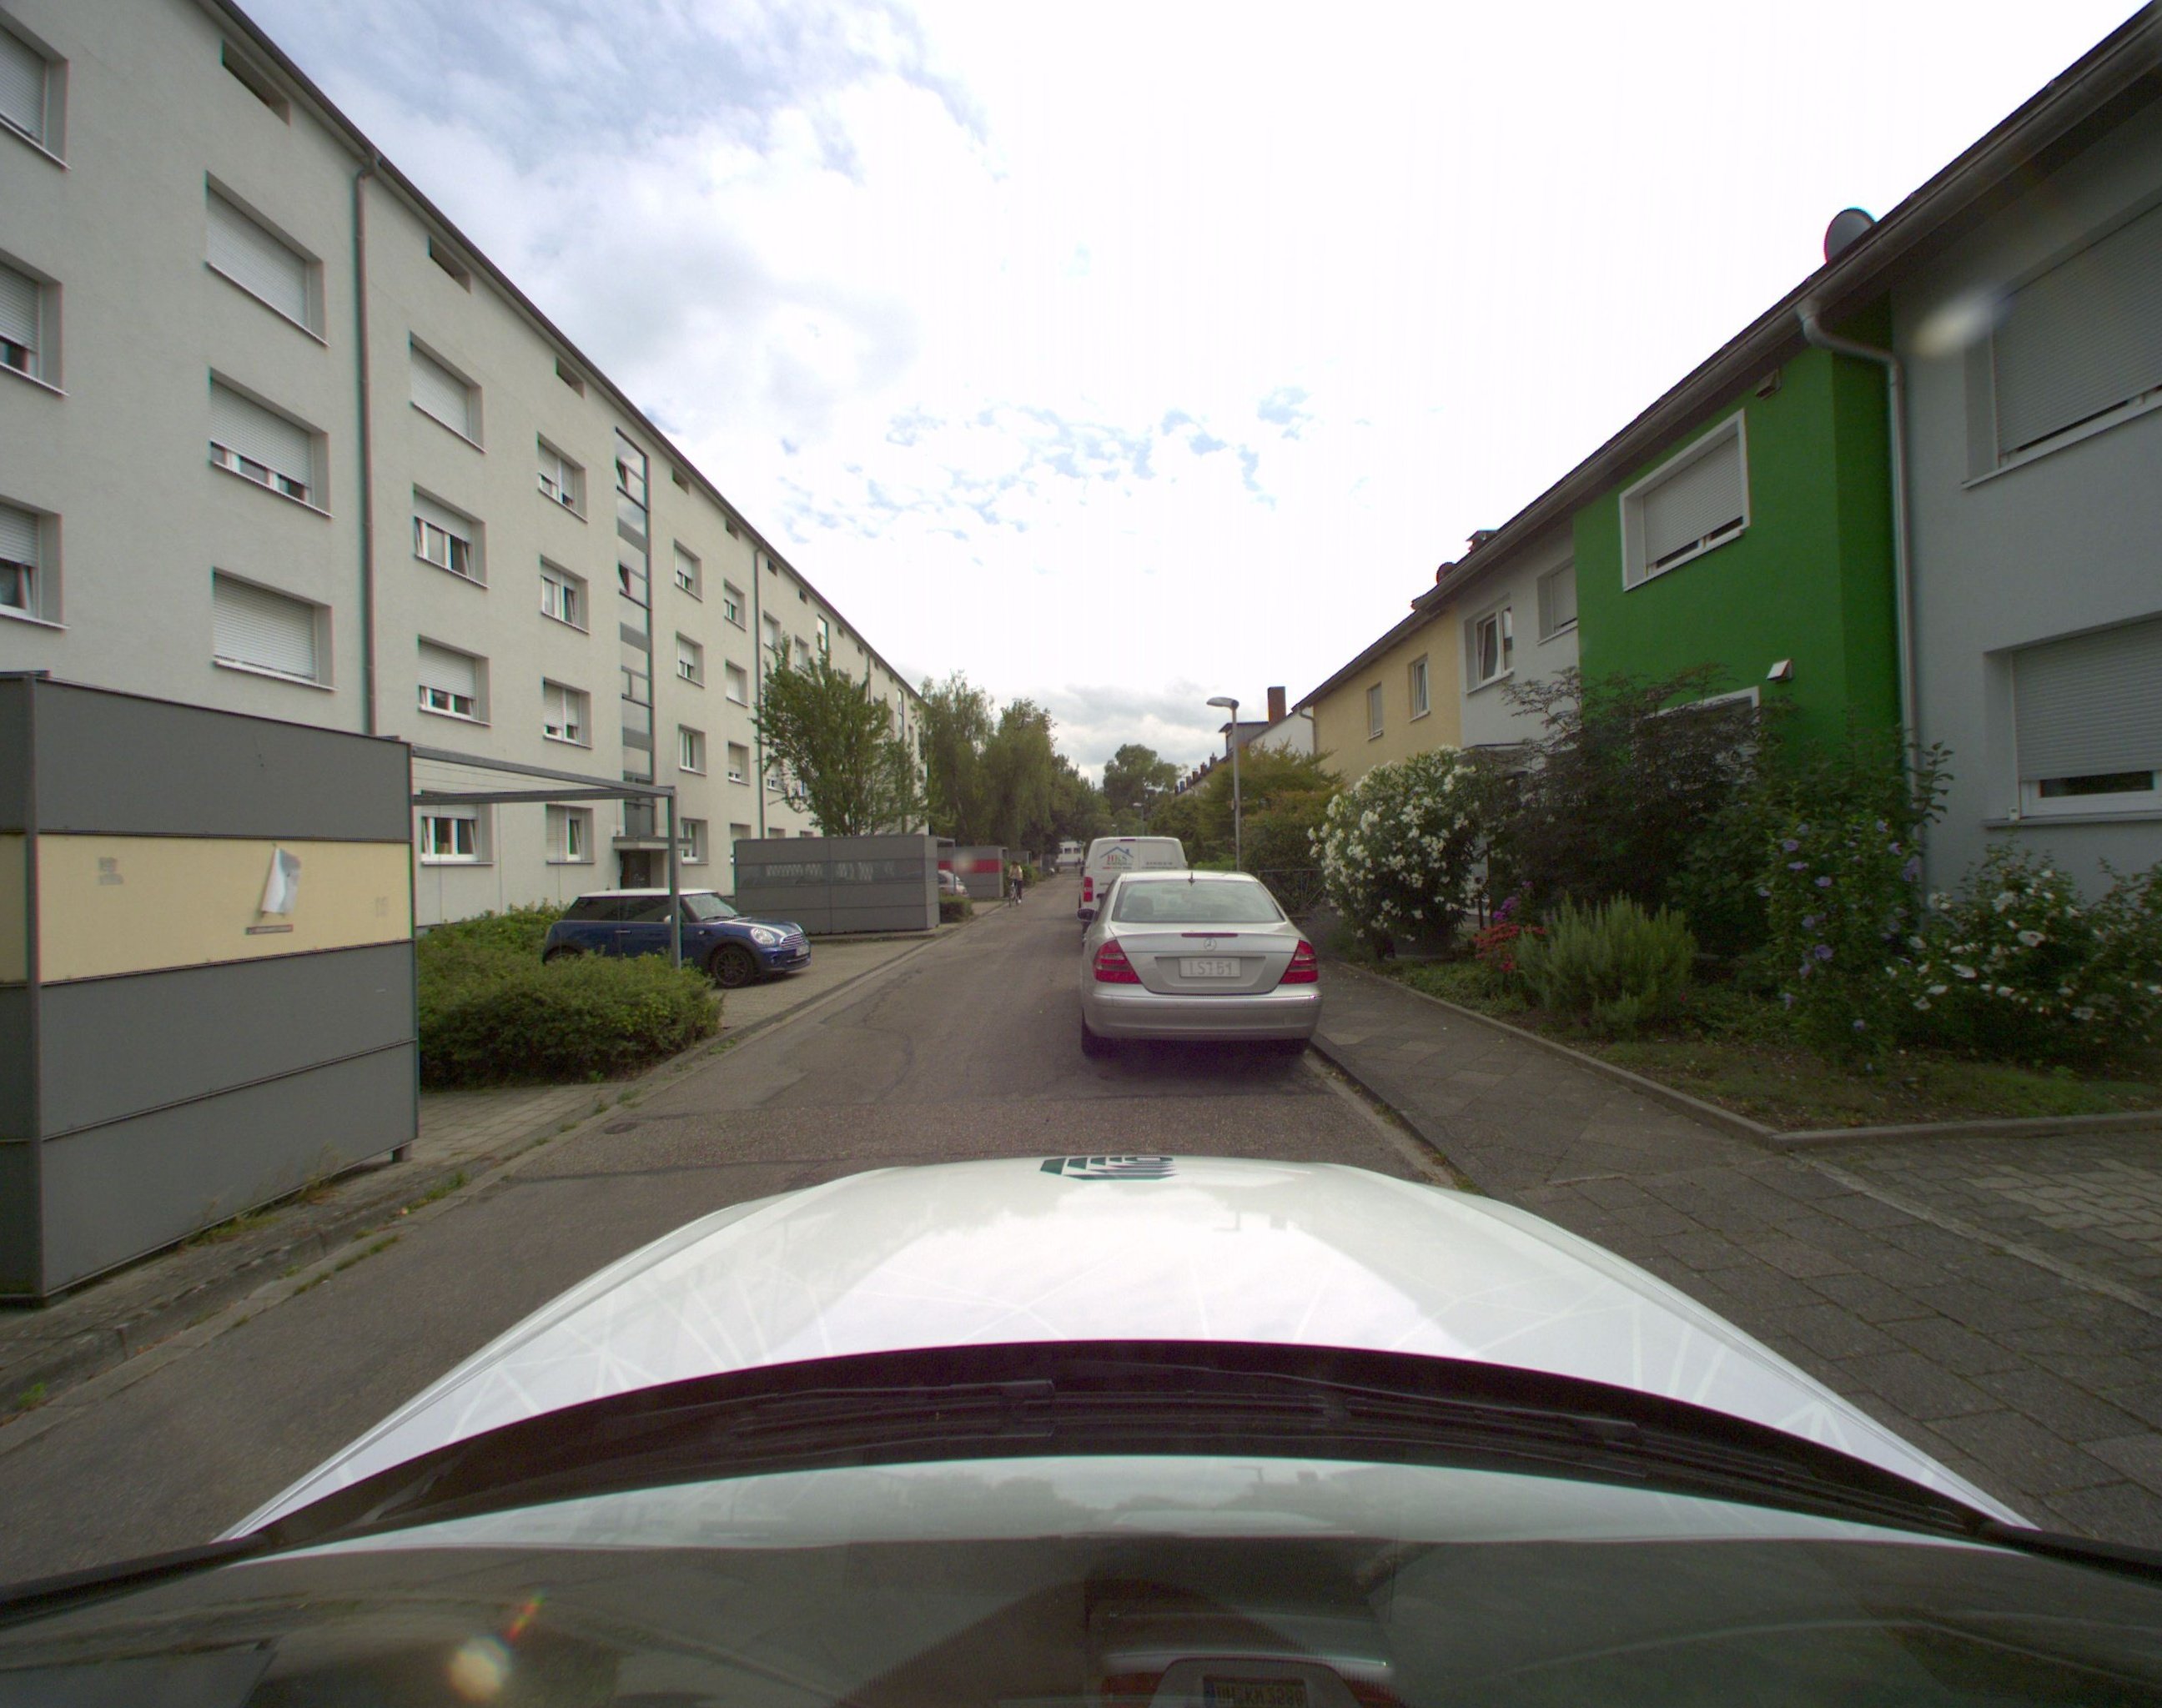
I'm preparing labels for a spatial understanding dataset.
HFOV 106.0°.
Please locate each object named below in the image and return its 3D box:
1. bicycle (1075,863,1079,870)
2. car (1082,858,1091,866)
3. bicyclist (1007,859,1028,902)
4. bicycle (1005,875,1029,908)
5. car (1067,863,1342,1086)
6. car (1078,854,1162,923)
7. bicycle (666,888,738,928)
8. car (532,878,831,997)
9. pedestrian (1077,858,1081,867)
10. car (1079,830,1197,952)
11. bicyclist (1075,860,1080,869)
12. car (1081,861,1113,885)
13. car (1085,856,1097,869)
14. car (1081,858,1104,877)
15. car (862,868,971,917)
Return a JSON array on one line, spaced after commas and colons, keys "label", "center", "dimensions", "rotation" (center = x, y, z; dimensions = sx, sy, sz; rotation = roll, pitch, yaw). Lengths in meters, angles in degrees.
[{"label": "bicycle", "center": [-0.687, 2.189, 139.248], "dimensions": [0.686, 1.131, 2.580], "rotation": [0, -1, 2]}, {"label": "car", "center": [1.203, 1.706, 165.540], "dimensions": [1.819, 1.581, 4.000], "rotation": [0, 0, 1]}, {"label": "bicyclist", "center": [-2.372, 0.977, 30.380], "dimensions": [0.595, 1.581, 0.767], "rotation": [-3, -1, 1]}, {"label": "bicycle", "center": [-2.358, 1.370, 30.135], "dimensions": [0.595, 1.076, 2.043], "rotation": [-3, -1, 2]}, {"label": "car", "center": [0.881, 0.816, 7.555], "dimensions": [1.777, 1.421, 4.457], "rotation": [-1, -1, 2]}, {"label": "car", "center": [0.927, 0.848, 21.597], "dimensions": [1.820, 1.636, 4.158], "rotation": [-1, -1, -3]}, {"label": "bicycle", "center": [-10.995, 1.551, 23.669], "dimensions": [1.820, 1.024, 0.473], "rotation": [-2, -1, -41]}, {"label": "car", "center": [-5.894, 1.200, 12.272], "dimensions": [3.619, 1.461, 1.654], "rotation": [-3, -1, 3]}, {"label": "pedestrian", "center": [-0.469, 1.713, 170.027], "dimensions": [0.774, 1.805, 0.547], "rotation": [0, -1, -1]}, {"label": "car", "center": [0.927, 0.624, 15.897], "dimensions": [1.898, 1.964, 5.252], "rotation": [-1, -1, 0]}, {"label": "bicyclist", "center": [-0.669, 1.867, 139.201], "dimensions": [0.795, 1.511, 0.934], "rotation": [0, -1, 2]}, {"label": "car", "center": [0.937, 1.119, 49.025], "dimensions": [1.819, 1.370, 4.331], "rotation": [0, 0, 1]}, {"label": "car", "center": [1.521, 1.257, 124.585], "dimensions": [1.819, 1.883, 4.000], "rotation": [0, 0, 1]}, {"label": "car", "center": [0.951, 1.102, 67.938], "dimensions": [1.820, 1.581, 3.998], "rotation": [0, 0, -1]}, {"label": "car", "center": [-5.814, 1.334, 29.131], "dimensions": [3.555, 1.480, 1.708], "rotation": [-3, 0, -5]}]
